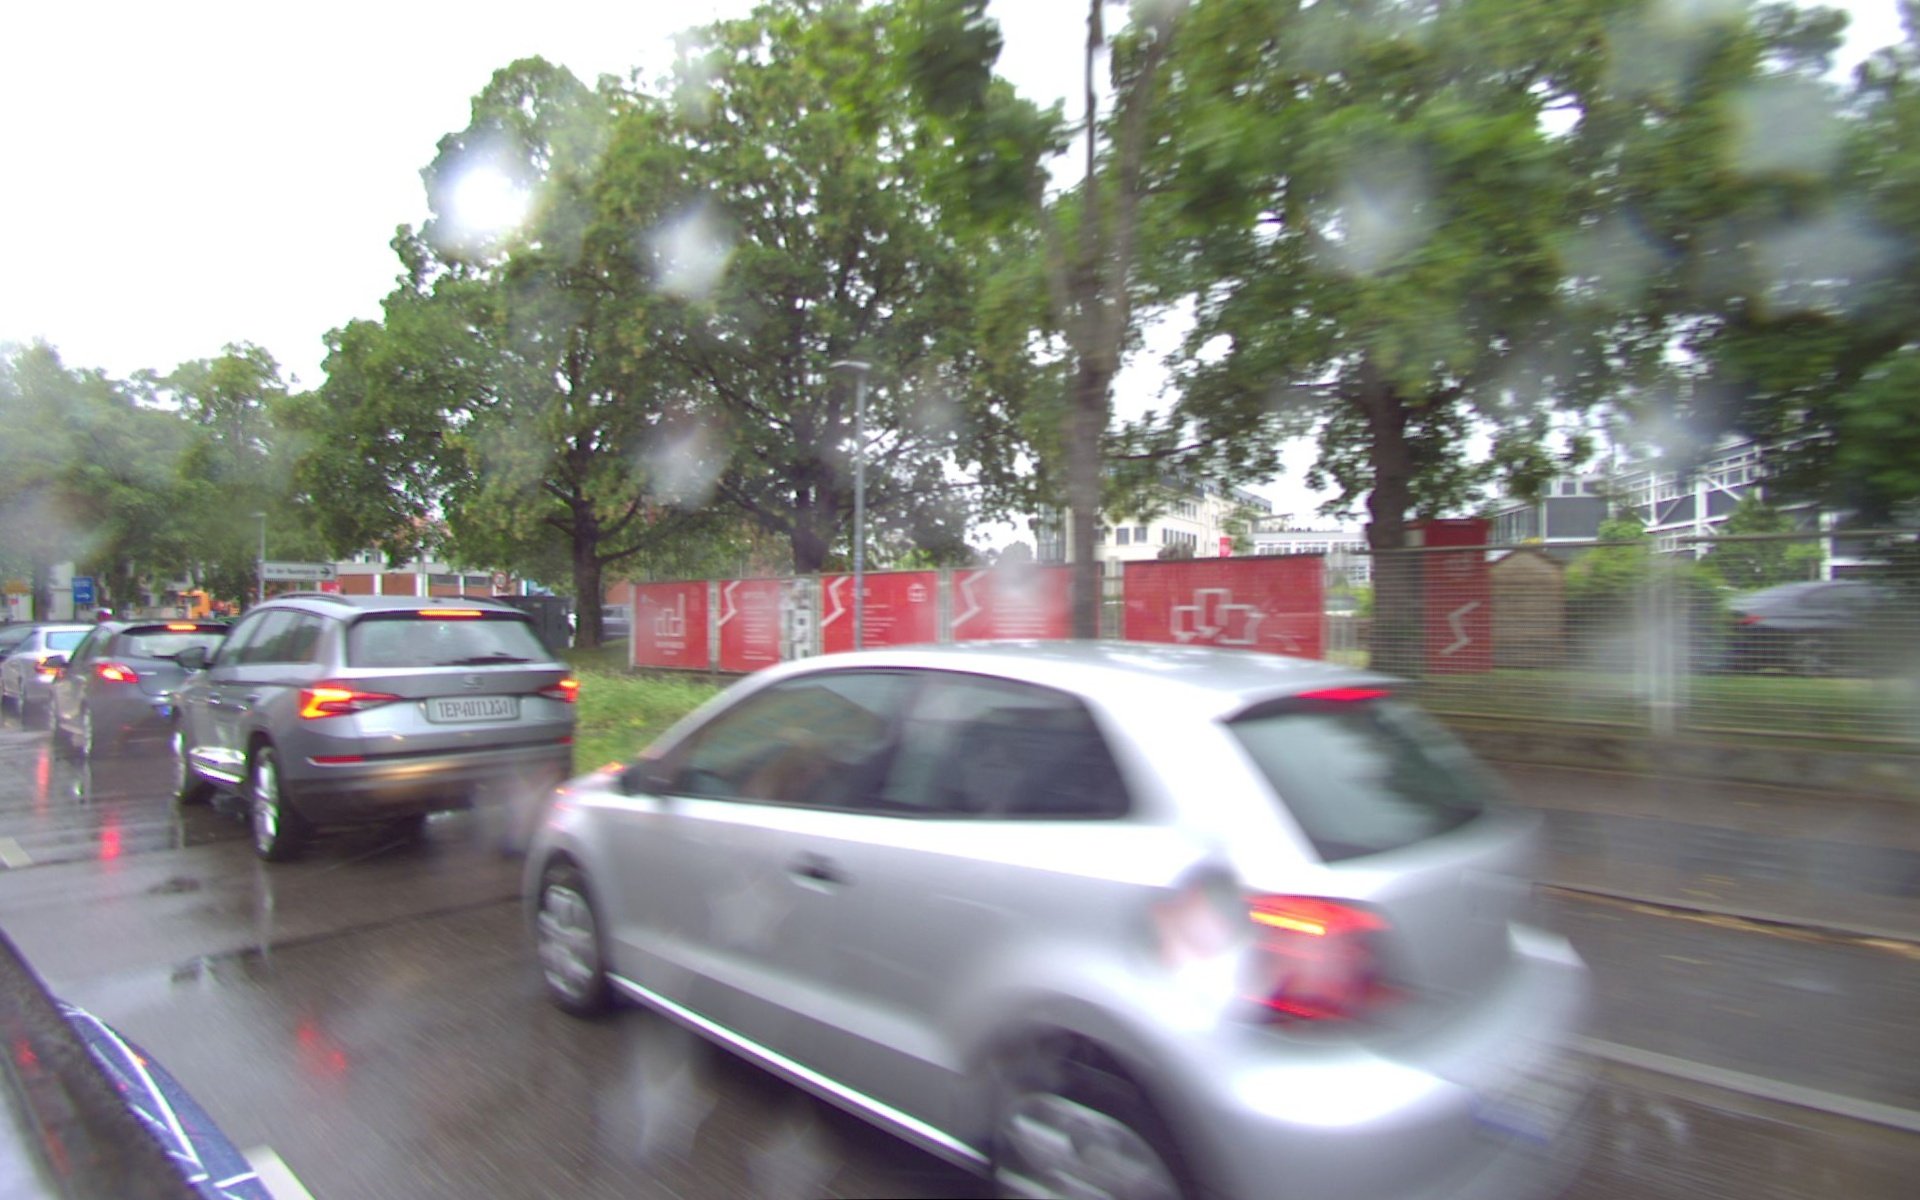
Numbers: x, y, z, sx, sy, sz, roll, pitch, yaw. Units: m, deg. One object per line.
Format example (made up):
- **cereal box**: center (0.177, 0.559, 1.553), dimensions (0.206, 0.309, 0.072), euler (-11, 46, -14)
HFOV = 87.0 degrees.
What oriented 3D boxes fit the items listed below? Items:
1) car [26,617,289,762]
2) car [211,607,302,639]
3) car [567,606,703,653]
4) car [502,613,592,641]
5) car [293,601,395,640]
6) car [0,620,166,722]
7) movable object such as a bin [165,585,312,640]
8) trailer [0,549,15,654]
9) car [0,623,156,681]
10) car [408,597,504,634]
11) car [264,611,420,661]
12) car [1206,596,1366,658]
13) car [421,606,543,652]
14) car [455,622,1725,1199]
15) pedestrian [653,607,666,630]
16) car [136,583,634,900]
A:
- **car**: center (-9.709, 0.945, 12.122), dimensions (4.263, 1.431, 1.760), euler (-2, -2, 42)
- **car**: center (-38.668, 1.258, 55.638), dimensions (3.938, 1.613, 2.003), euler (0, -2, -41)
- **car**: center (-11.381, 1.037, 35.562), dimensions (4.255, 1.521, 1.783), euler (-1, -2, 12)
- **car**: center (-21.873, 1.429, 53.655), dimensions (4.262, 1.389, 1.618), euler (-1, -1, 10)
- **car**: center (-30.104, 1.017, 49.488), dimensions (3.956, 1.804, 1.994), euler (-1, -1, 10)
- **car**: center (-14.965, 1.073, 16.875), dimensions (4.826, 1.414, 1.757), euler (-1, 0, 40)
- **movable object such as a bin**: center (-40.914, 0.671, 57.496), dimensions (6.669, 2.953, 2.780), euler (0, -1, -38)
- **trailer**: center (-43.965, 0.208, 43.571), dimensions (15.045, 4.080, 3.406), euler (-2, -2, 42)
- **car**: center (-25.082, 1.382, 27.347), dimensions (4.844, 1.465, 2.092), euler (0, -1, -16)
- **car**: center (-29.162, 0.886, 58.622), dimensions (4.620, 2.029, 1.996), euler (-1, -1, 7)
- **car**: center (-20.041, 1.116, 33.064), dimensions (1.991, 1.405, 4.326), euler (-1, 1, 11)
- **car**: center (8.713, 0.731, 27.352), dimensions (3.962, 1.595, 1.794), euler (-1, -1, 15)
- **car**: center (-18.689, 1.097, 39.847), dimensions (2.024, 1.719, 4.632), euler (-1, -1, 11)
- **car**: center (-0.130, 0.785, 3.512), dimensions (4.254, 1.393, 1.653), euler (-1, -1, 45)
- **pedestrian**: center (-22.784, 1.403, 76.750), dimensions (0.670, 1.697, 0.777), euler (-1, -1, 11)
- **car**: center (-4.562, 0.754, 7.619), dimensions (4.821, 1.652, 1.893), euler (-1, 0, 43)
